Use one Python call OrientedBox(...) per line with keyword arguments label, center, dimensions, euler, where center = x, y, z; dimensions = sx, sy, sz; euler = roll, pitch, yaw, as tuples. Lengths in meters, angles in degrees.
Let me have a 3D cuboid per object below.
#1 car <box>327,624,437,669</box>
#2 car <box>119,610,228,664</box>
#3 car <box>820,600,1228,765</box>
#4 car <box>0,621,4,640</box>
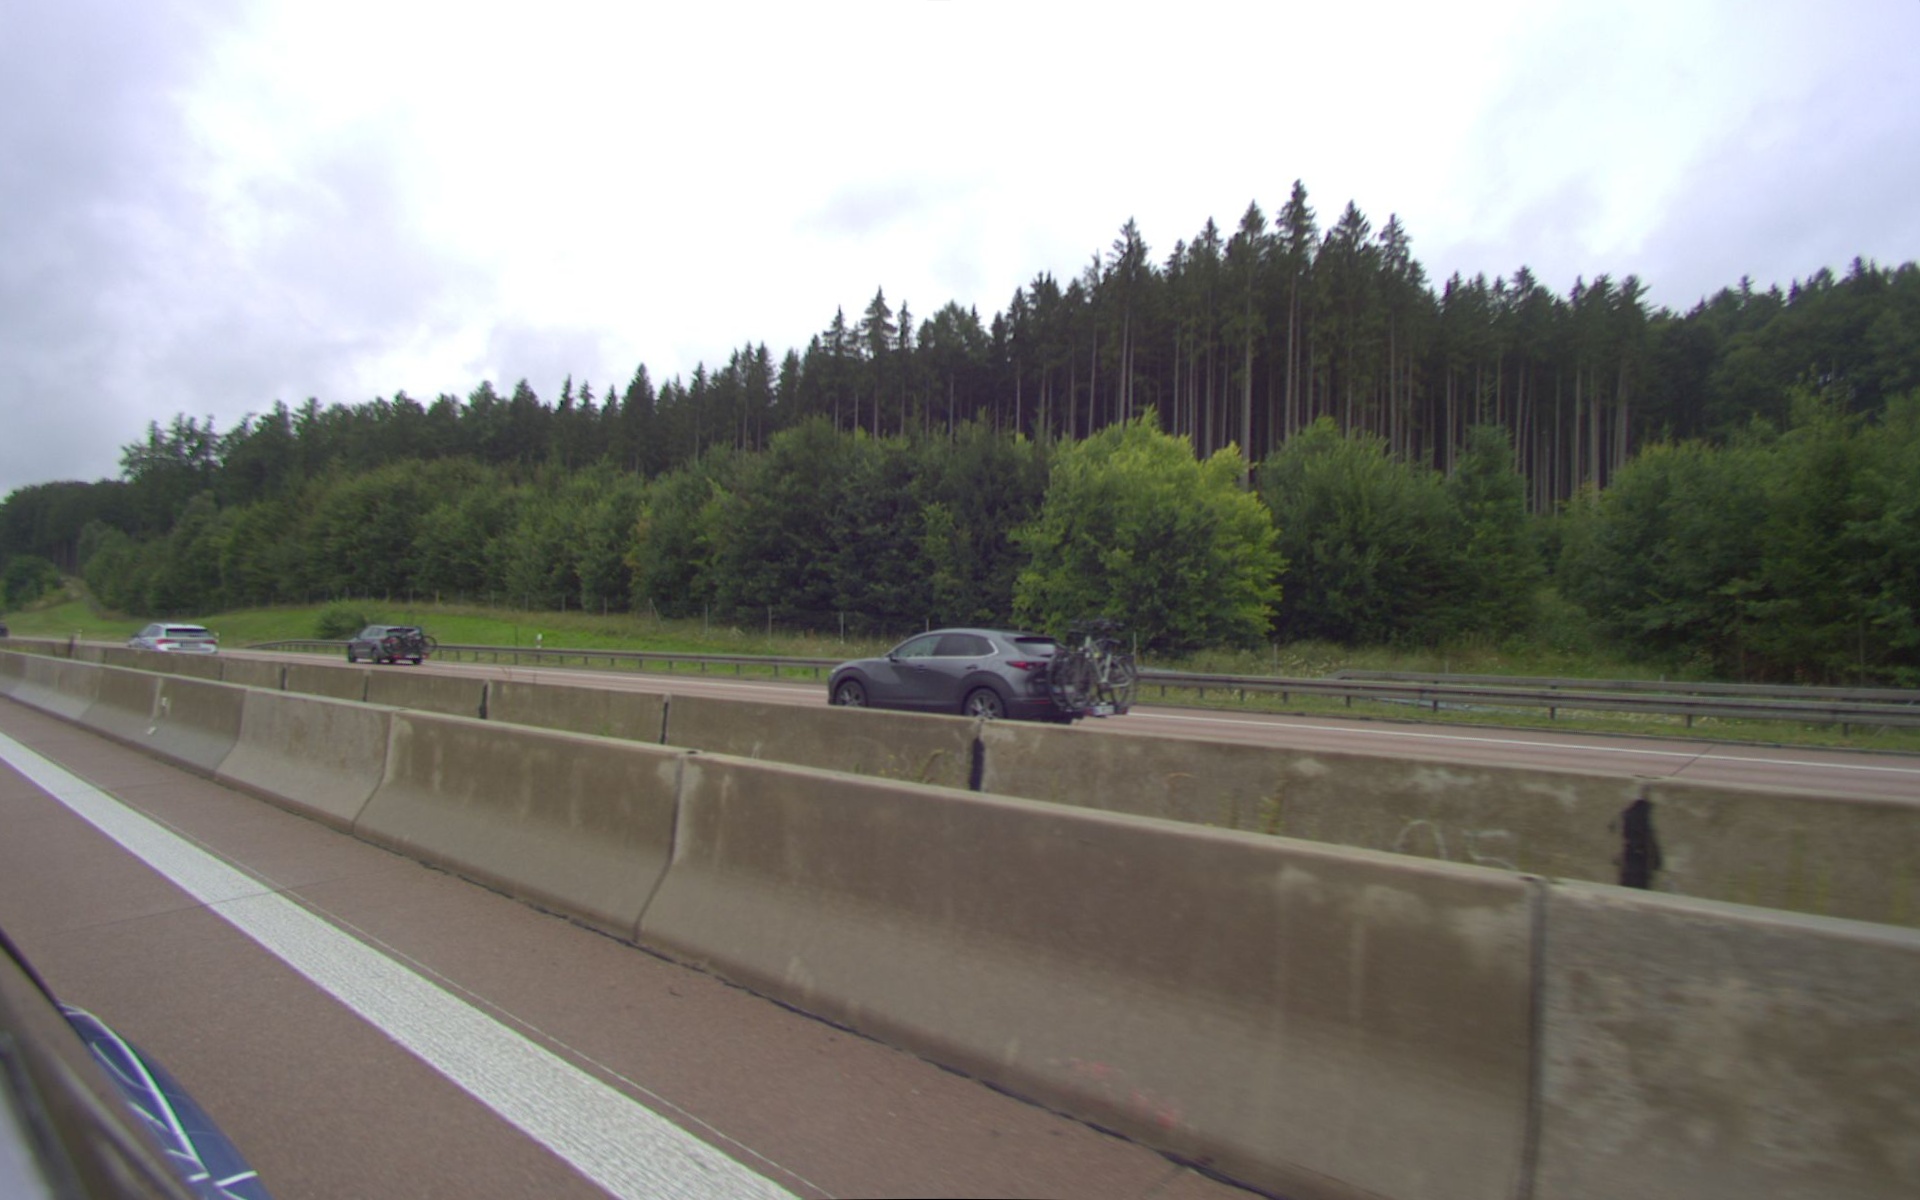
OrientedBox(label="car", center=(-23.654, 1.849, 41.304), dimensions=(5.738, 1.572, 1.974), euler=(0, 1, 39))
OrientedBox(label="car", center=(-26.111, 1.179, 33.544), dimensions=(4.944, 1.572, 1.973), euler=(0, 1, 41))
OrientedBox(label="car", center=(0.716, 0.964, 14.593), dimensions=(5.726, 1.875, 2.257), euler=(0, 1, 41))
OrientedBox(label="car", center=(-83.765, 2.593, 87.110), dimensions=(4.313, 1.594, 1.698), euler=(0, -1, 40))
